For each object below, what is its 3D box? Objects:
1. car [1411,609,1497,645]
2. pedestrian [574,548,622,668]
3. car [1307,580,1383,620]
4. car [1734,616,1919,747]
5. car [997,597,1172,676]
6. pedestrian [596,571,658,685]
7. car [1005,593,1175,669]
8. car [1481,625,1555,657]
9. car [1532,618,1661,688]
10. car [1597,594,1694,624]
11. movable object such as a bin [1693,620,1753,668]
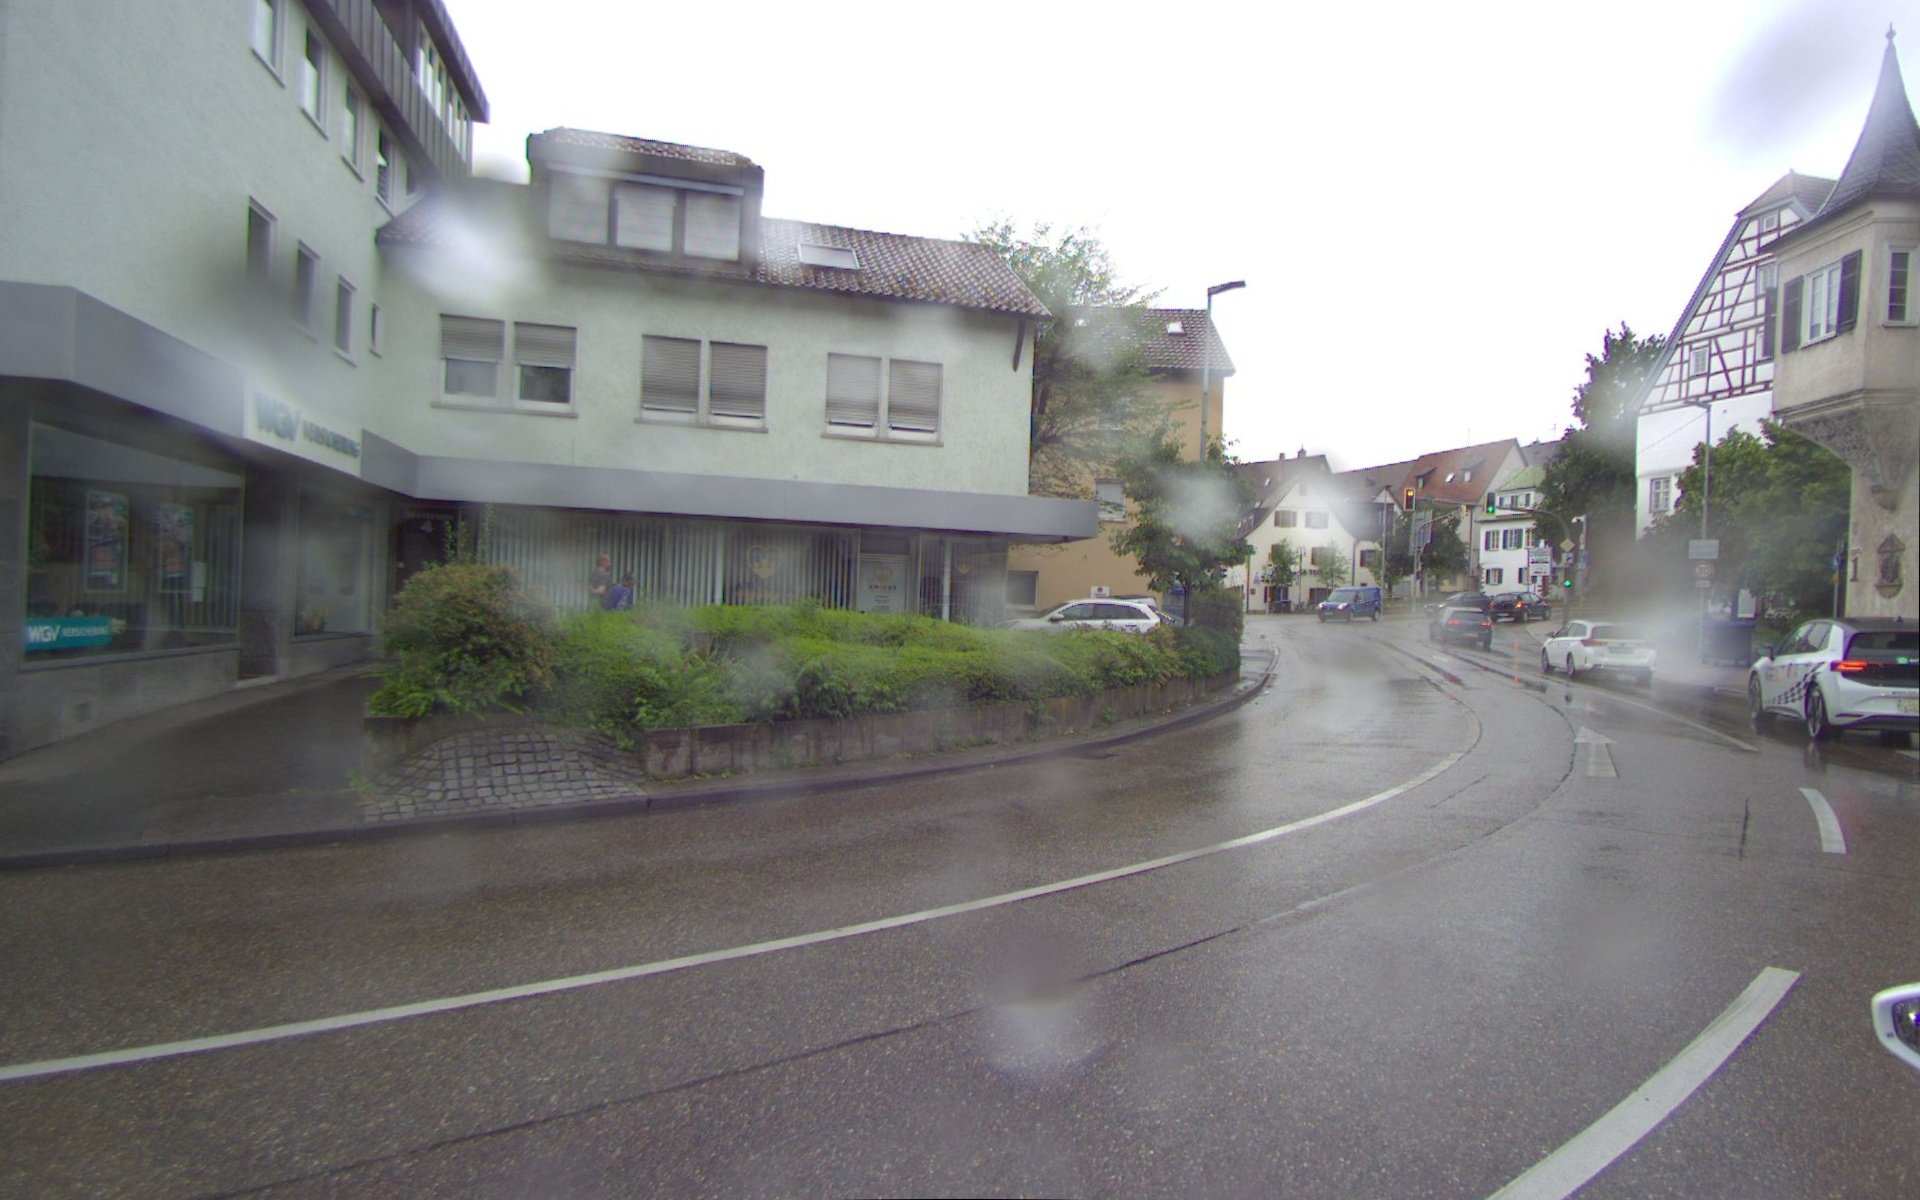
[{"bbox_3d":[19.619,1.041,40.082,1.959,1.319,4.003,1,-1,9],"label":"car"},{"bbox_3d":[-5.692,0.120,15.795,0.663,1.844,0.615,1,1,-20],"label":"pedestrian"},{"bbox_3d":[20.608,0.008,53.648,4.345,1.906,1.976,4,-2,-41],"label":"car"},{"bbox_3d":[11.958,0.988,13.372,1.828,1.492,3.996,1,-1,26],"label":"car"},{"bbox_3d":[2.797,0.812,23.070,3.579,1.650,1.997,1,0,-8],"label":"car"},{"bbox_3d":[-5.082,0.425,15.326,0.850,1.694,0.615,1,1,-19],"label":"pedestrian"},{"bbox_3d":[3.872,0.901,30.549,4.838,1.850,1.962,-4,2,0],"label":"car"},{"bbox_3d":[28.668,2.109,51.590,3.384,1.544,1.579,2,-1,-23],"label":"car"},{"bbox_3d":[16.319,1.291,25.979,1.854,1.617,4.326,1,-1,19],"label":"car"},{"bbox_3d":[41.046,0.548,60.214,4.390,1.612,2.000,2,0,2],"label":"car"},{"bbox_3d":[22.608,1.278,29.781,1.136,1.330,1.185,2,0,24],"label":"movable object such as a bin"}]
